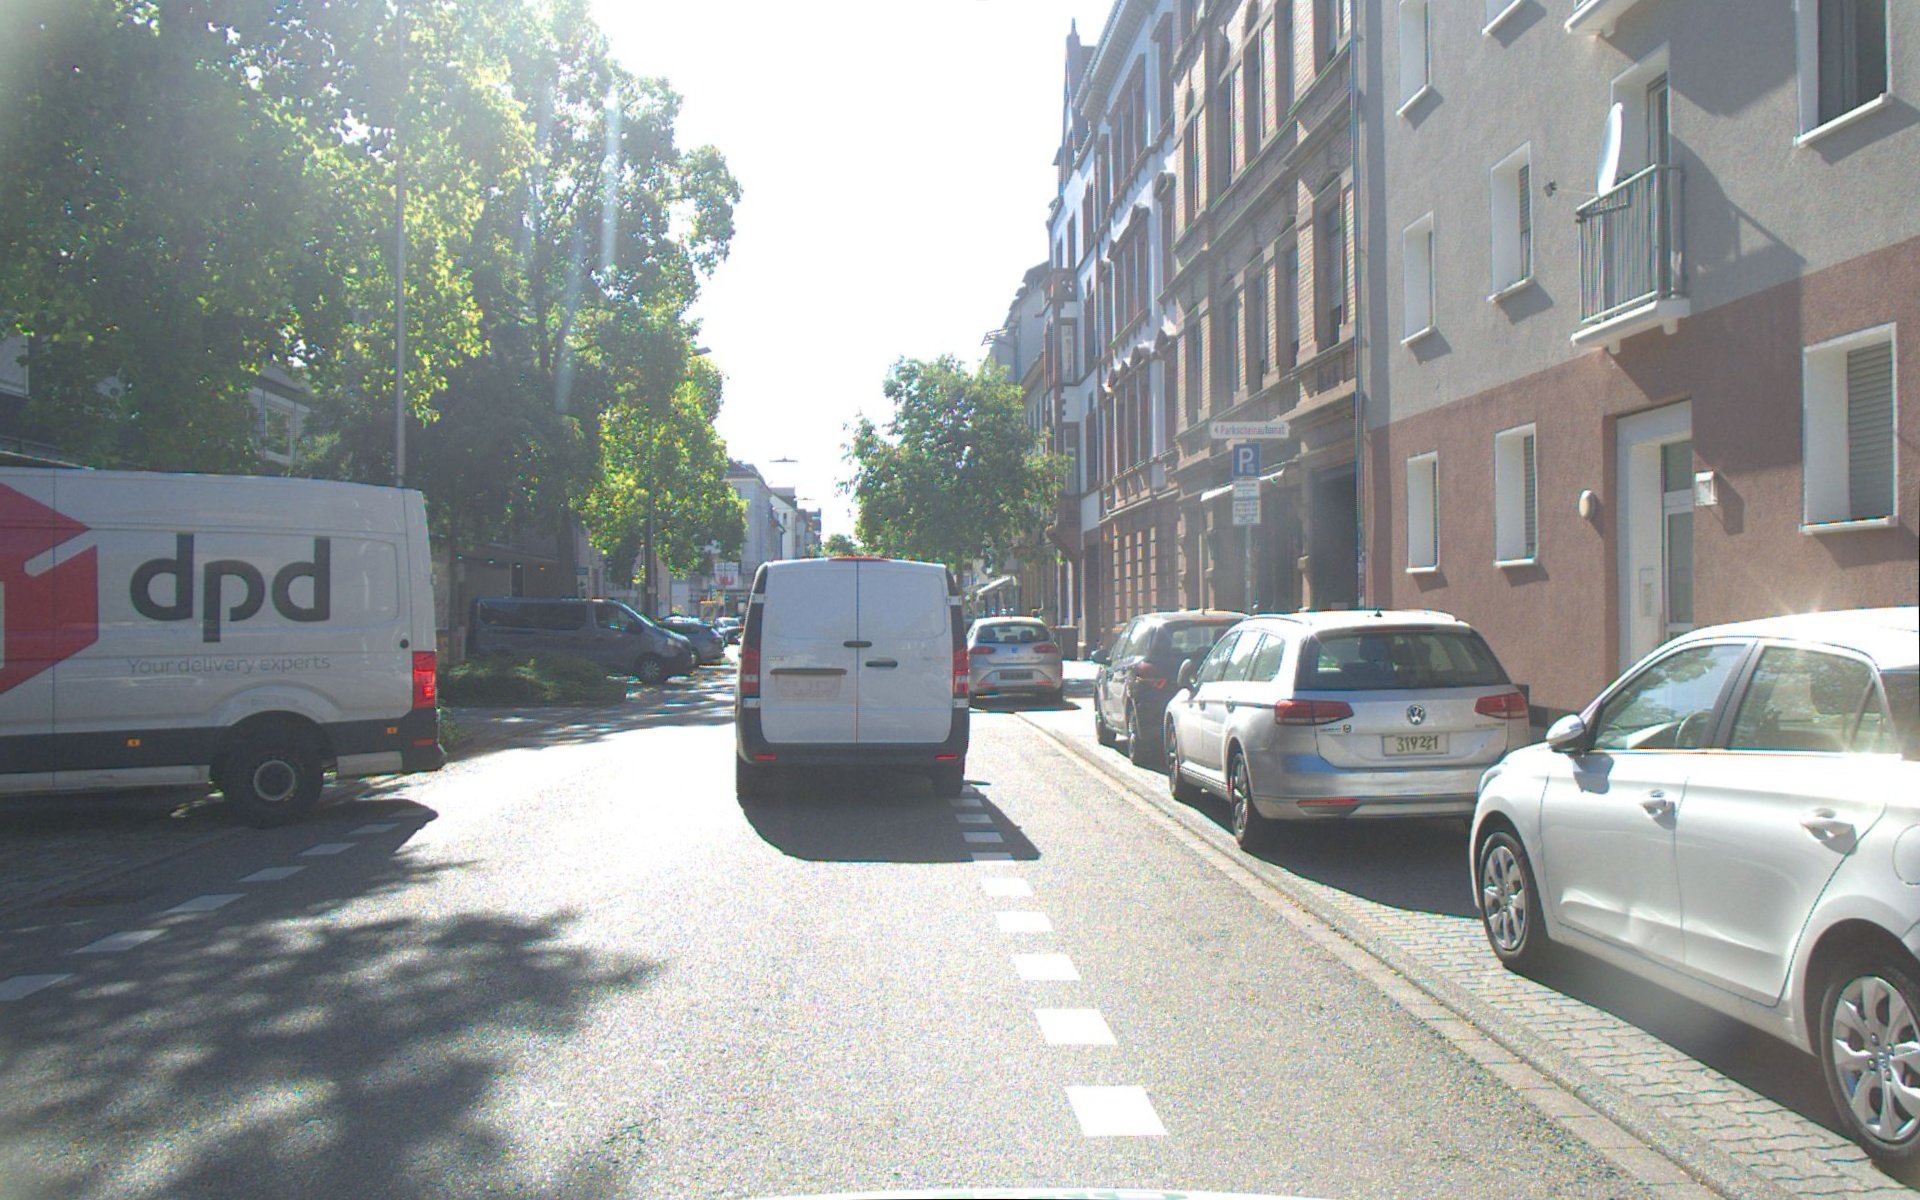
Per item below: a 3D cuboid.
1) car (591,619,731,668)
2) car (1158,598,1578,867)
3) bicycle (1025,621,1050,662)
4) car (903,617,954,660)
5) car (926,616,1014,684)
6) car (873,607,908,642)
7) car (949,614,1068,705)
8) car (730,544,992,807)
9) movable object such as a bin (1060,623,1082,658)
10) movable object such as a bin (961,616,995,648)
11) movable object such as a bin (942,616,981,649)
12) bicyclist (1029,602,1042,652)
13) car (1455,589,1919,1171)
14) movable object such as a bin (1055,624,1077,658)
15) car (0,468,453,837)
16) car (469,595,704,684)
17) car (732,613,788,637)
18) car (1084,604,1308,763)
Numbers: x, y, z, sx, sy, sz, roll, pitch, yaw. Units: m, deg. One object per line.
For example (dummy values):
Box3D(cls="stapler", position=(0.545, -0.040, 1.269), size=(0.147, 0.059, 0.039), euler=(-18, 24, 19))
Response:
Box3D(cls="car", position=(-9.663, 1.389, 53.618), size=(4.218, 1.486, 1.761), euler=(1, -1, -2))
Box3D(cls="car", position=(2.626, 0.783, 11.798), size=(1.749, 1.485, 4.515), euler=(-2, -1, -1))
Box3D(cls="bicycle", position=(2.375, 1.275, 50.911), size=(0.525, 1.168, 2.123), euler=(-6, -1, -1))
Box3D(cls="car", position=(-1.189, 1.405, 61.411), size=(1.604, 1.501, 3.576), euler=(-1, -1, -5))
Box3D(cls="car", position=(0.172, 1.115, 38.437), size=(1.704, 1.477, 4.303), euler=(-1, -1, -4))
Box3D(cls="car", position=(-4.039, 1.380, 95.345), size=(1.780, 1.955, 4.639), euler=(-1, -1, -5))
Box3D(cls="car", position=(0.784, 0.991, 29.247), size=(1.704, 1.477, 3.996), euler=(-1, -1, -4))
Box3D(cls="car", position=(-1.061, 0.578, 14.778), size=(1.885, 1.947, 4.878), euler=(1, 0, -9))
Box3D(cls="movable object such as a bin", position=(3.519, 1.289, 52.537), size=(0.625, 1.087, 0.639), euler=(-1, -1, -4))
Box3D(cls="movable object such as a bin", position=(0.780, 1.367, 70.630), size=(1.020, 1.371, 1.105), euler=(-1, -1, 35))
Box3D(cls="movable object such as a bin", position=(0.058, 1.371, 69.387), size=(1.090, 1.371, 1.263), euler=(-2, -1, 44))
Box3D(cls="bicyclist", position=(2.310, 0.829, 50.635), size=(0.353, 1.503, 0.530), euler=(0, -1, 0))
Box3D(cls="car", position=(3.264, 0.734, 5.678), size=(1.697, 1.512, 3.791), euler=(-2, 0, -5))
Box3D(cls="movable object such as a bin", position=(3.431, 1.339, 53.652), size=(0.625, 1.087, 0.631), euler=(-1, -1, -4))
Box3D(cls="car", position=(-7.222, 0.369, 12.054), size=(6.509, 2.517, 1.981), euler=(0, -1, -29))
Box3D(cls="car", position=(-8.856, 0.942, 39.557), size=(5.188, 2.009, 2.014), euler=(1, -1, -4))
Box3D(cls="car", position=(-14.106, 1.747, 116.702), size=(3.911, 1.669, 1.997), euler=(0, -1, -7))
Box3D(cls="car", position=(2.426, 0.827, 17.868), size=(1.675, 1.506, 3.707), euler=(-1, -1, -4))
